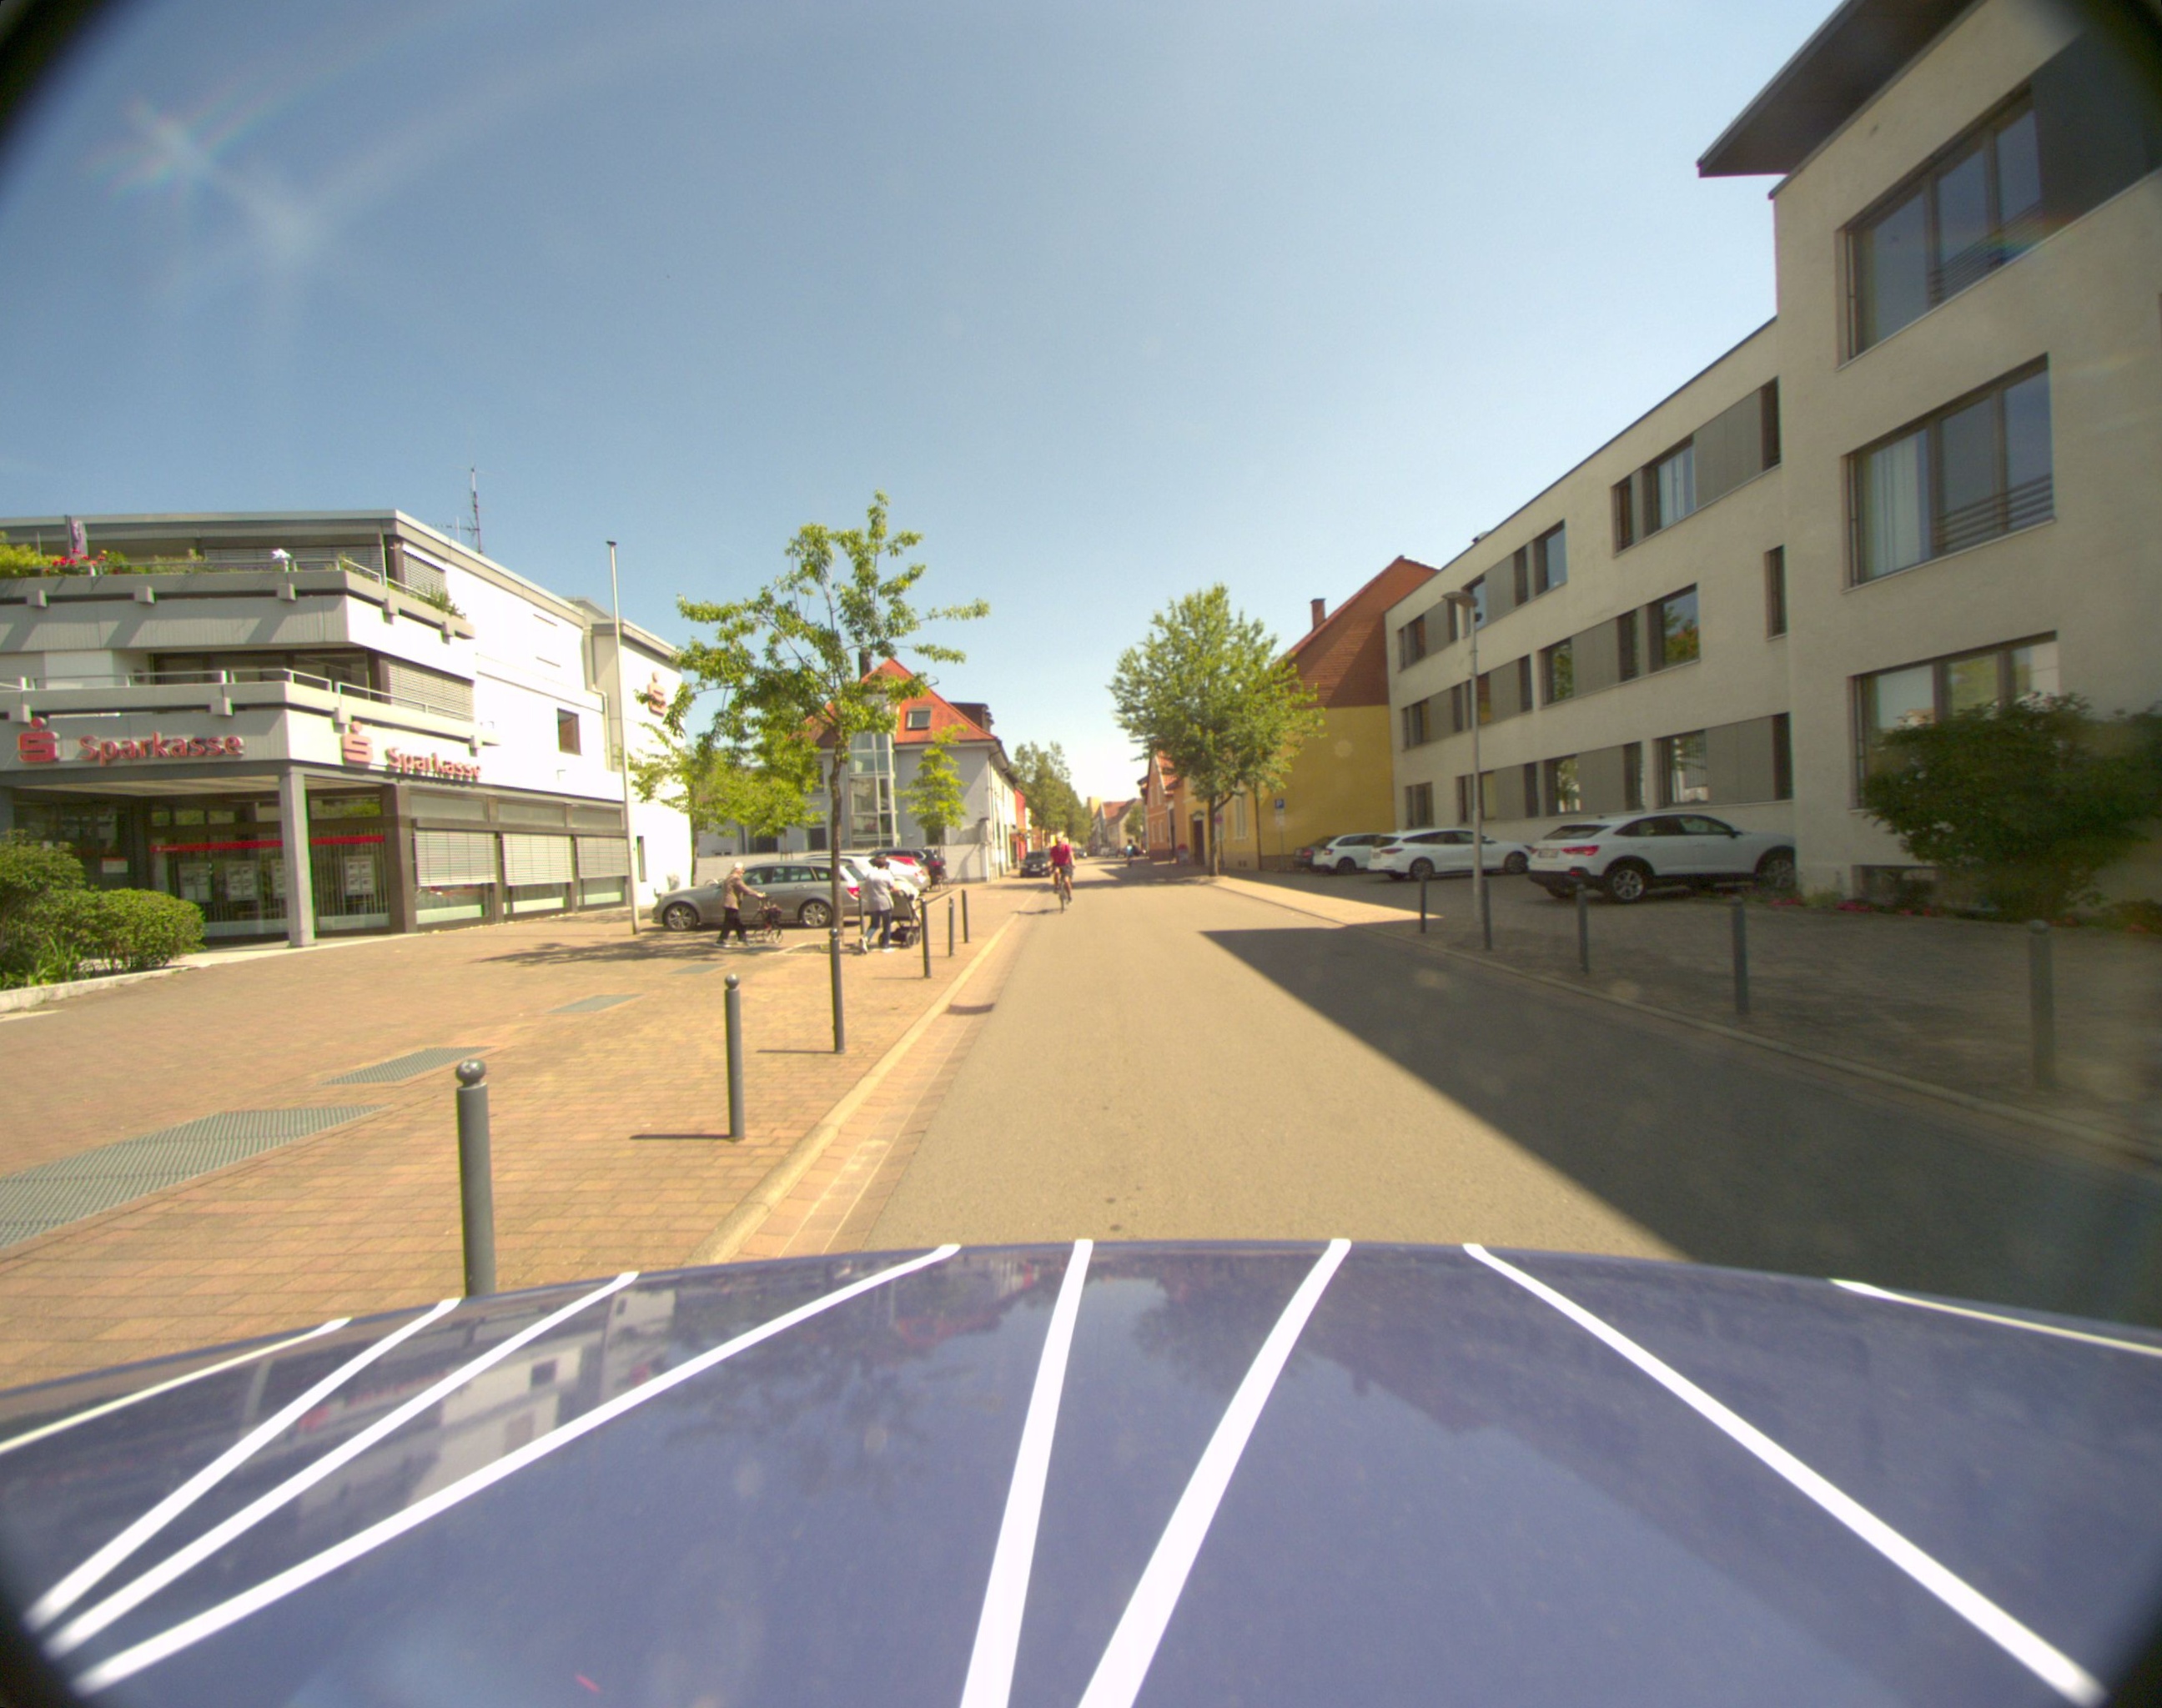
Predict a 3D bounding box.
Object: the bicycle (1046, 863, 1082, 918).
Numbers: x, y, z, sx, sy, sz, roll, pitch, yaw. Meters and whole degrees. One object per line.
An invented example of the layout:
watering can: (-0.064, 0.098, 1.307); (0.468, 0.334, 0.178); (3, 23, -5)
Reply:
bicycle: (-0.429, 0.853, 18.700); (0.738, 1.183, 1.970); (-4, 1, -3)

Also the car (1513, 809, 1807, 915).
car: (10.390, 0.123, 13.829); (3.997, 1.539, 1.748); (-4, 1, -2)

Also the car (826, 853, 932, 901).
car: (-7.224, 0.792, 27.415); (3.431, 1.543, 1.490); (-2, 1, -5)

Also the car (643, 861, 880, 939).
car: (-6.864, 0.959, 16.732); (4.446, 1.457, 1.689); (-1, 2, -6)

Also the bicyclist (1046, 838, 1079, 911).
bicyclist: (-0.461, 0.476, 18.609); (0.703, 1.707, 0.759); (-4, 2, -3)

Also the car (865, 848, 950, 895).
car: (-6.710, 0.655, 29.557); (3.041, 1.727, 1.344); (-1, 1, -5)

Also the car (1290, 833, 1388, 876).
car: (9.959, 0.004, 29.495); (3.258, 1.393, 1.374); (-4, 1, -2)

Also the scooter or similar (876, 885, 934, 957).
scooter or similar: (-2.927, 1.093, 12.696); (0.505, 1.112, 0.910); (-1, 1, 19)

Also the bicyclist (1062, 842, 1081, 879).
bicyclist: (-0.427, 0.265, 33.265); (0.703, 1.573, 0.878); (-4, 2, -3)

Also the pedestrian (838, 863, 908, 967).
pedestrian: (-3.226, 0.917, 11.839); (0.512, 1.507, 1.050); (-1, 1, 19)

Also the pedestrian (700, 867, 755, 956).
pedestrian: (-6.296, 1.000, 13.547); (0.725, 1.492, 0.530); (-3, 1, -37)

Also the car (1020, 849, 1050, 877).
car: (-2.600, 0.485, 42.514); (1.530, 1.444, 3.519); (-1, 1, -5)

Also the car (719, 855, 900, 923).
car: (-6.871, 0.850, 19.598); (4.047, 1.550, 1.711); (-1, 1, -6)

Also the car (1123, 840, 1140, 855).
car: (6.587, -0.824, 99.788); (1.826, 1.805, 3.999); (-2, 1, -1)

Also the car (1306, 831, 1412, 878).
car: (9.923, 0.015, 27.285); (3.139, 1.442, 1.642); (-4, 1, 1)

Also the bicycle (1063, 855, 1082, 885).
bicycle: (-0.393, 0.689, 33.224); (0.690, 1.183, 1.798); (-4, 1, -3)

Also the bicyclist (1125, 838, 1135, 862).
bicyclist: (3.403, -0.278, 52.824); (0.538, 1.630, 0.551); (-2, 1, -2)

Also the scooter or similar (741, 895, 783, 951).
scooter or similar: (-5.840, 1.252, 13.895); (0.548, 0.940, 0.535); (-3, 1, -37)

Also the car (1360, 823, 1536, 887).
car: (10.594, 0.008, 22.093); (4.324, 1.470, 1.513); (-4, 1, 0)

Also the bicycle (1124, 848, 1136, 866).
bicycle: (3.423, 0.192, 52.882); (0.595, 1.183, 1.724); (-3, 1, -2)

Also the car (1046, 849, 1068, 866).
car: (-1.979, 0.247, 61.925); (1.530, 1.298, 3.248); (-1, 1, -6)

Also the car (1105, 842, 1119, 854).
car: (4.807, -0.960, 118.109); (1.999, 1.696, 3.999); (-2, 1, -1)

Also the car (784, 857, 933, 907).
car: (-7.173, 0.875, 24.881); (4.446, 1.434, 1.655); (-1, 1, -8)
